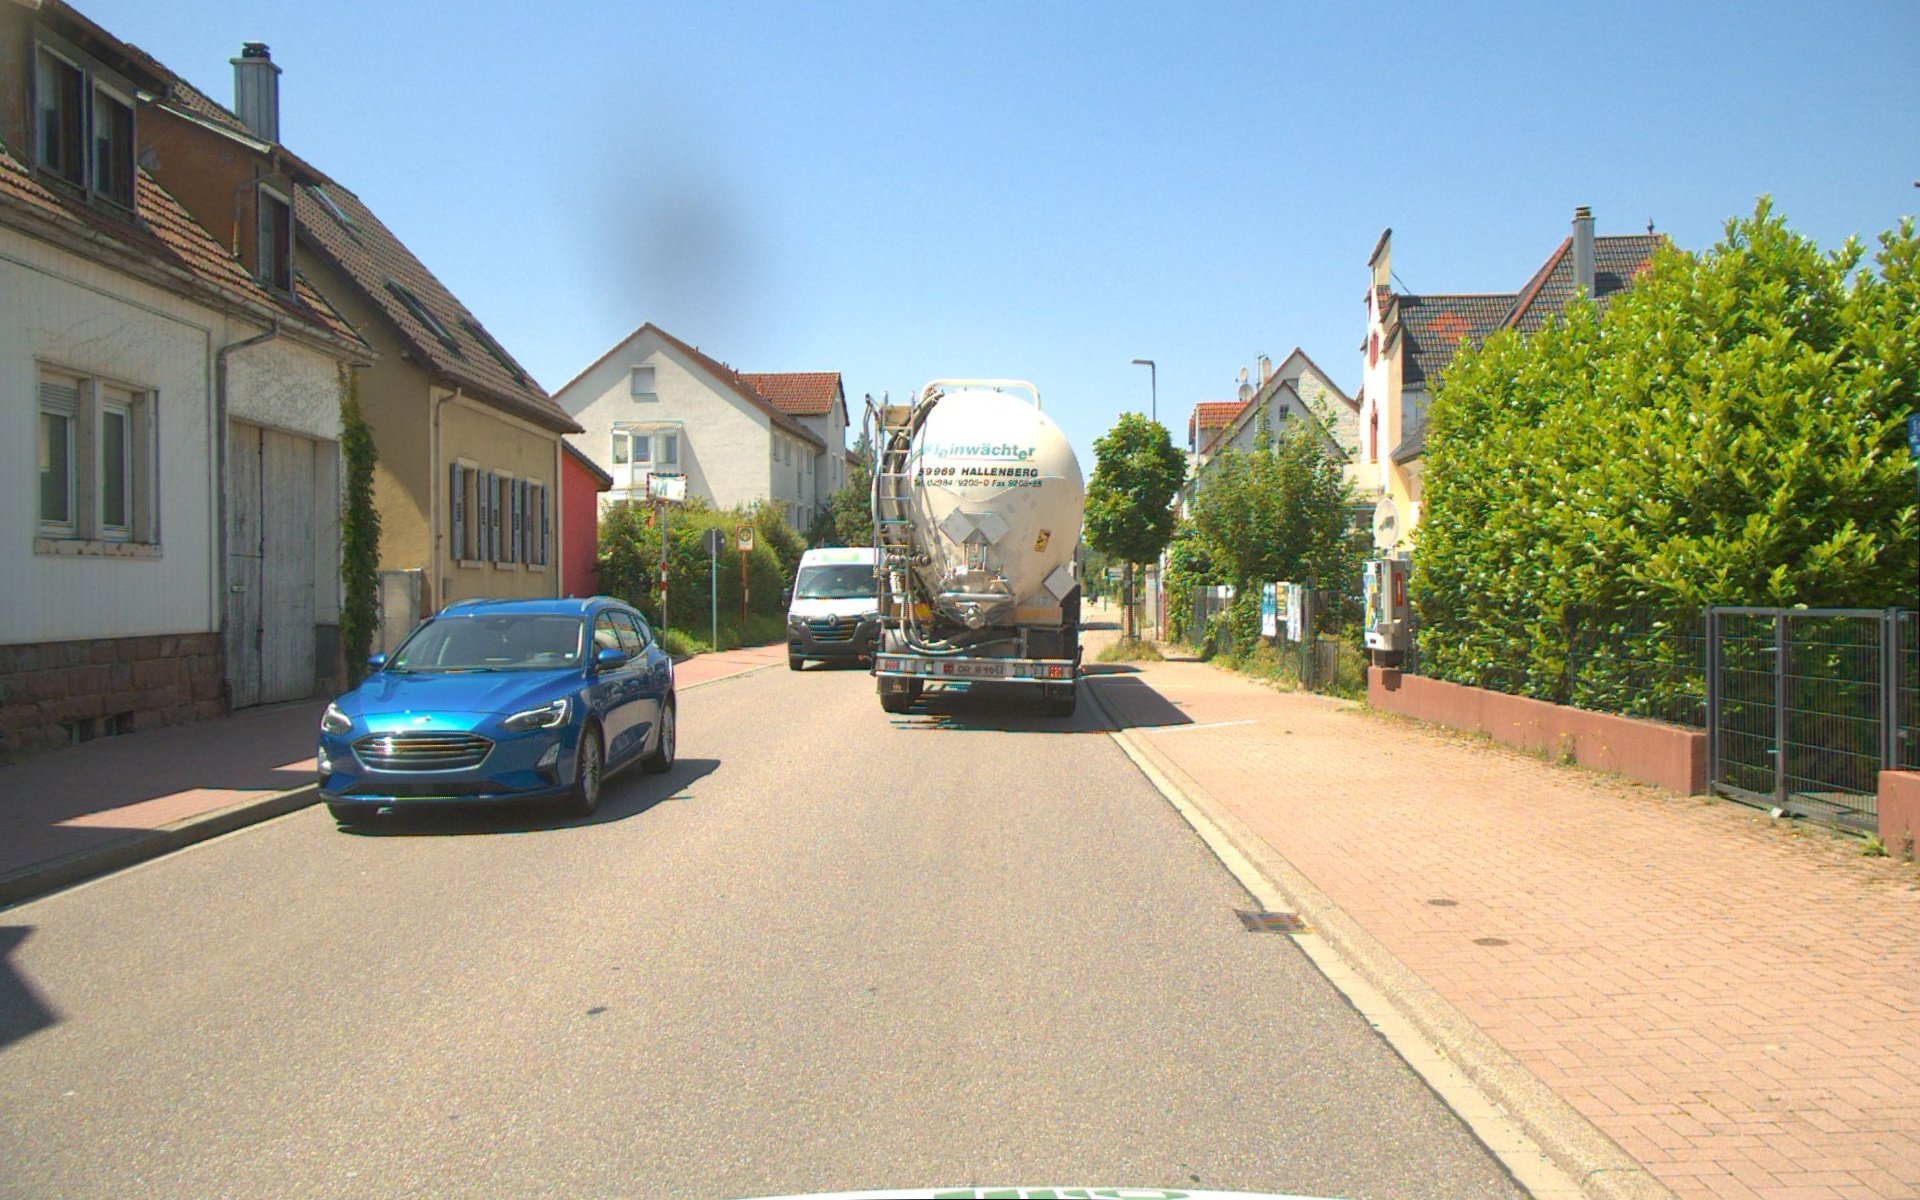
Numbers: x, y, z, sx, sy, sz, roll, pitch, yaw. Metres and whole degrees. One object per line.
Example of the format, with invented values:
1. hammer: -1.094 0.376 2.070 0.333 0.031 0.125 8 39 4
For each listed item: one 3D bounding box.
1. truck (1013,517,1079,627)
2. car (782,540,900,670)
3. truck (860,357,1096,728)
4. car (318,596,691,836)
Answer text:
1. truck: 3.756 -1.147 70.820 2.585 4.298 12.099 0 0 4
2. car: -2.428 0.090 35.345 1.988 2.504 6.068 -1 0 0
3. truck: 0.333 -0.668 22.997 2.586 4.086 9.563 0 0 2
4. car: -3.243 0.729 12.673 1.612 1.479 4.401 -1 0 0
